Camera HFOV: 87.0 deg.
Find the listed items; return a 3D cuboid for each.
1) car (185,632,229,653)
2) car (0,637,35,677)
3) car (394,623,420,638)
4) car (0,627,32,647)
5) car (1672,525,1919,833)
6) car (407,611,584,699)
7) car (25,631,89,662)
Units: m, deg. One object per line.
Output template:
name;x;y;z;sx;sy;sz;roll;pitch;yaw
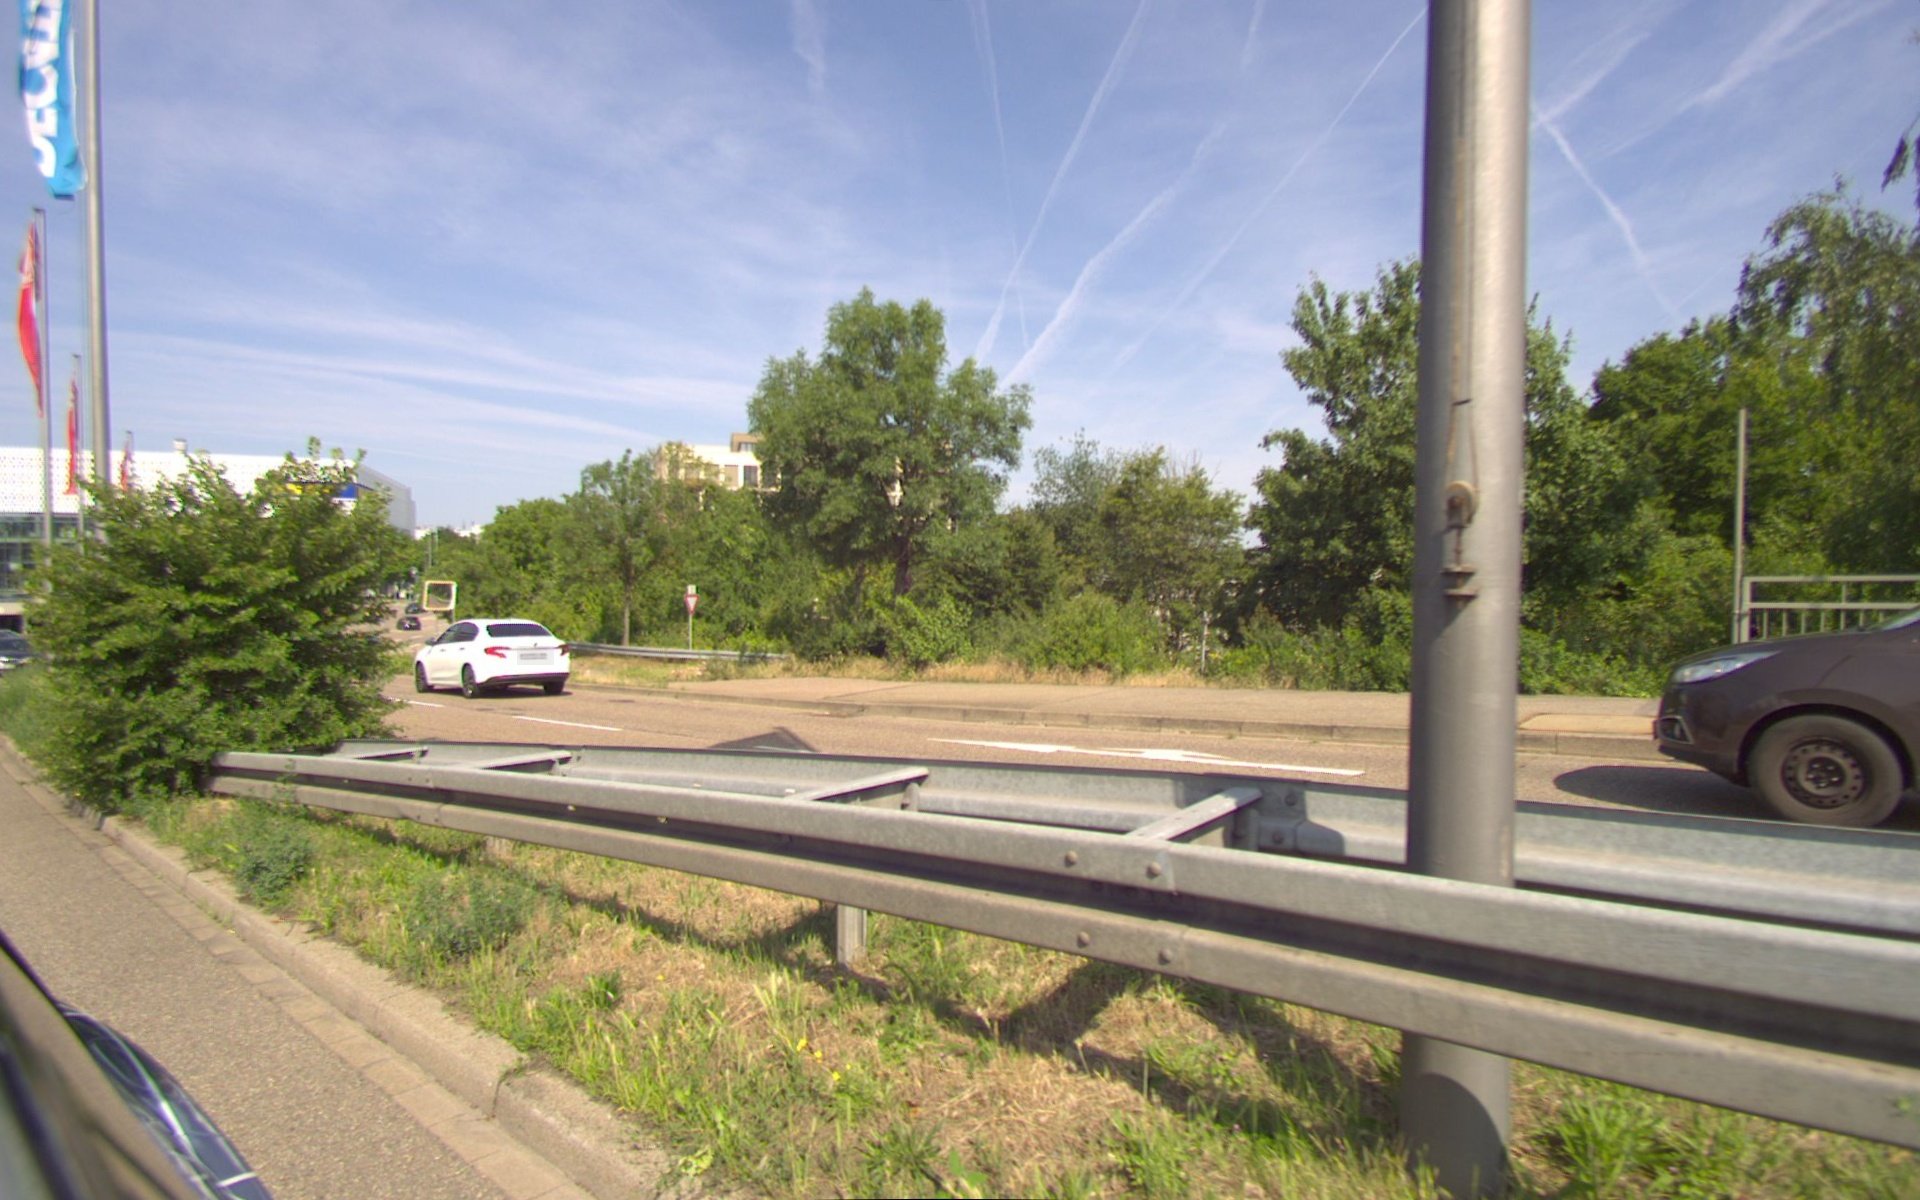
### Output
car;-62.972;3.520;84.685;1.795;1.485;4.013;0;1;-19
car;-35.853;2.132;37.773;1.823;1.429;4.003;4;-6;-43
car;-64.665;3.551;118.326;1.833;1.540;4.150;0;1;-41
car;-87.349;3.370;91.790;4.346;1.745;1.866;0;2;-10
car;6.506;0.407;5.426;4.222;1.648;1.862;-1;-1;41
car;-9.272;1.016;20.053;4.000;1.563;1.777;-1;-2;43
car;-50.698;2.615;56.896;1.748;1.671;4.156;1;-3;-29
